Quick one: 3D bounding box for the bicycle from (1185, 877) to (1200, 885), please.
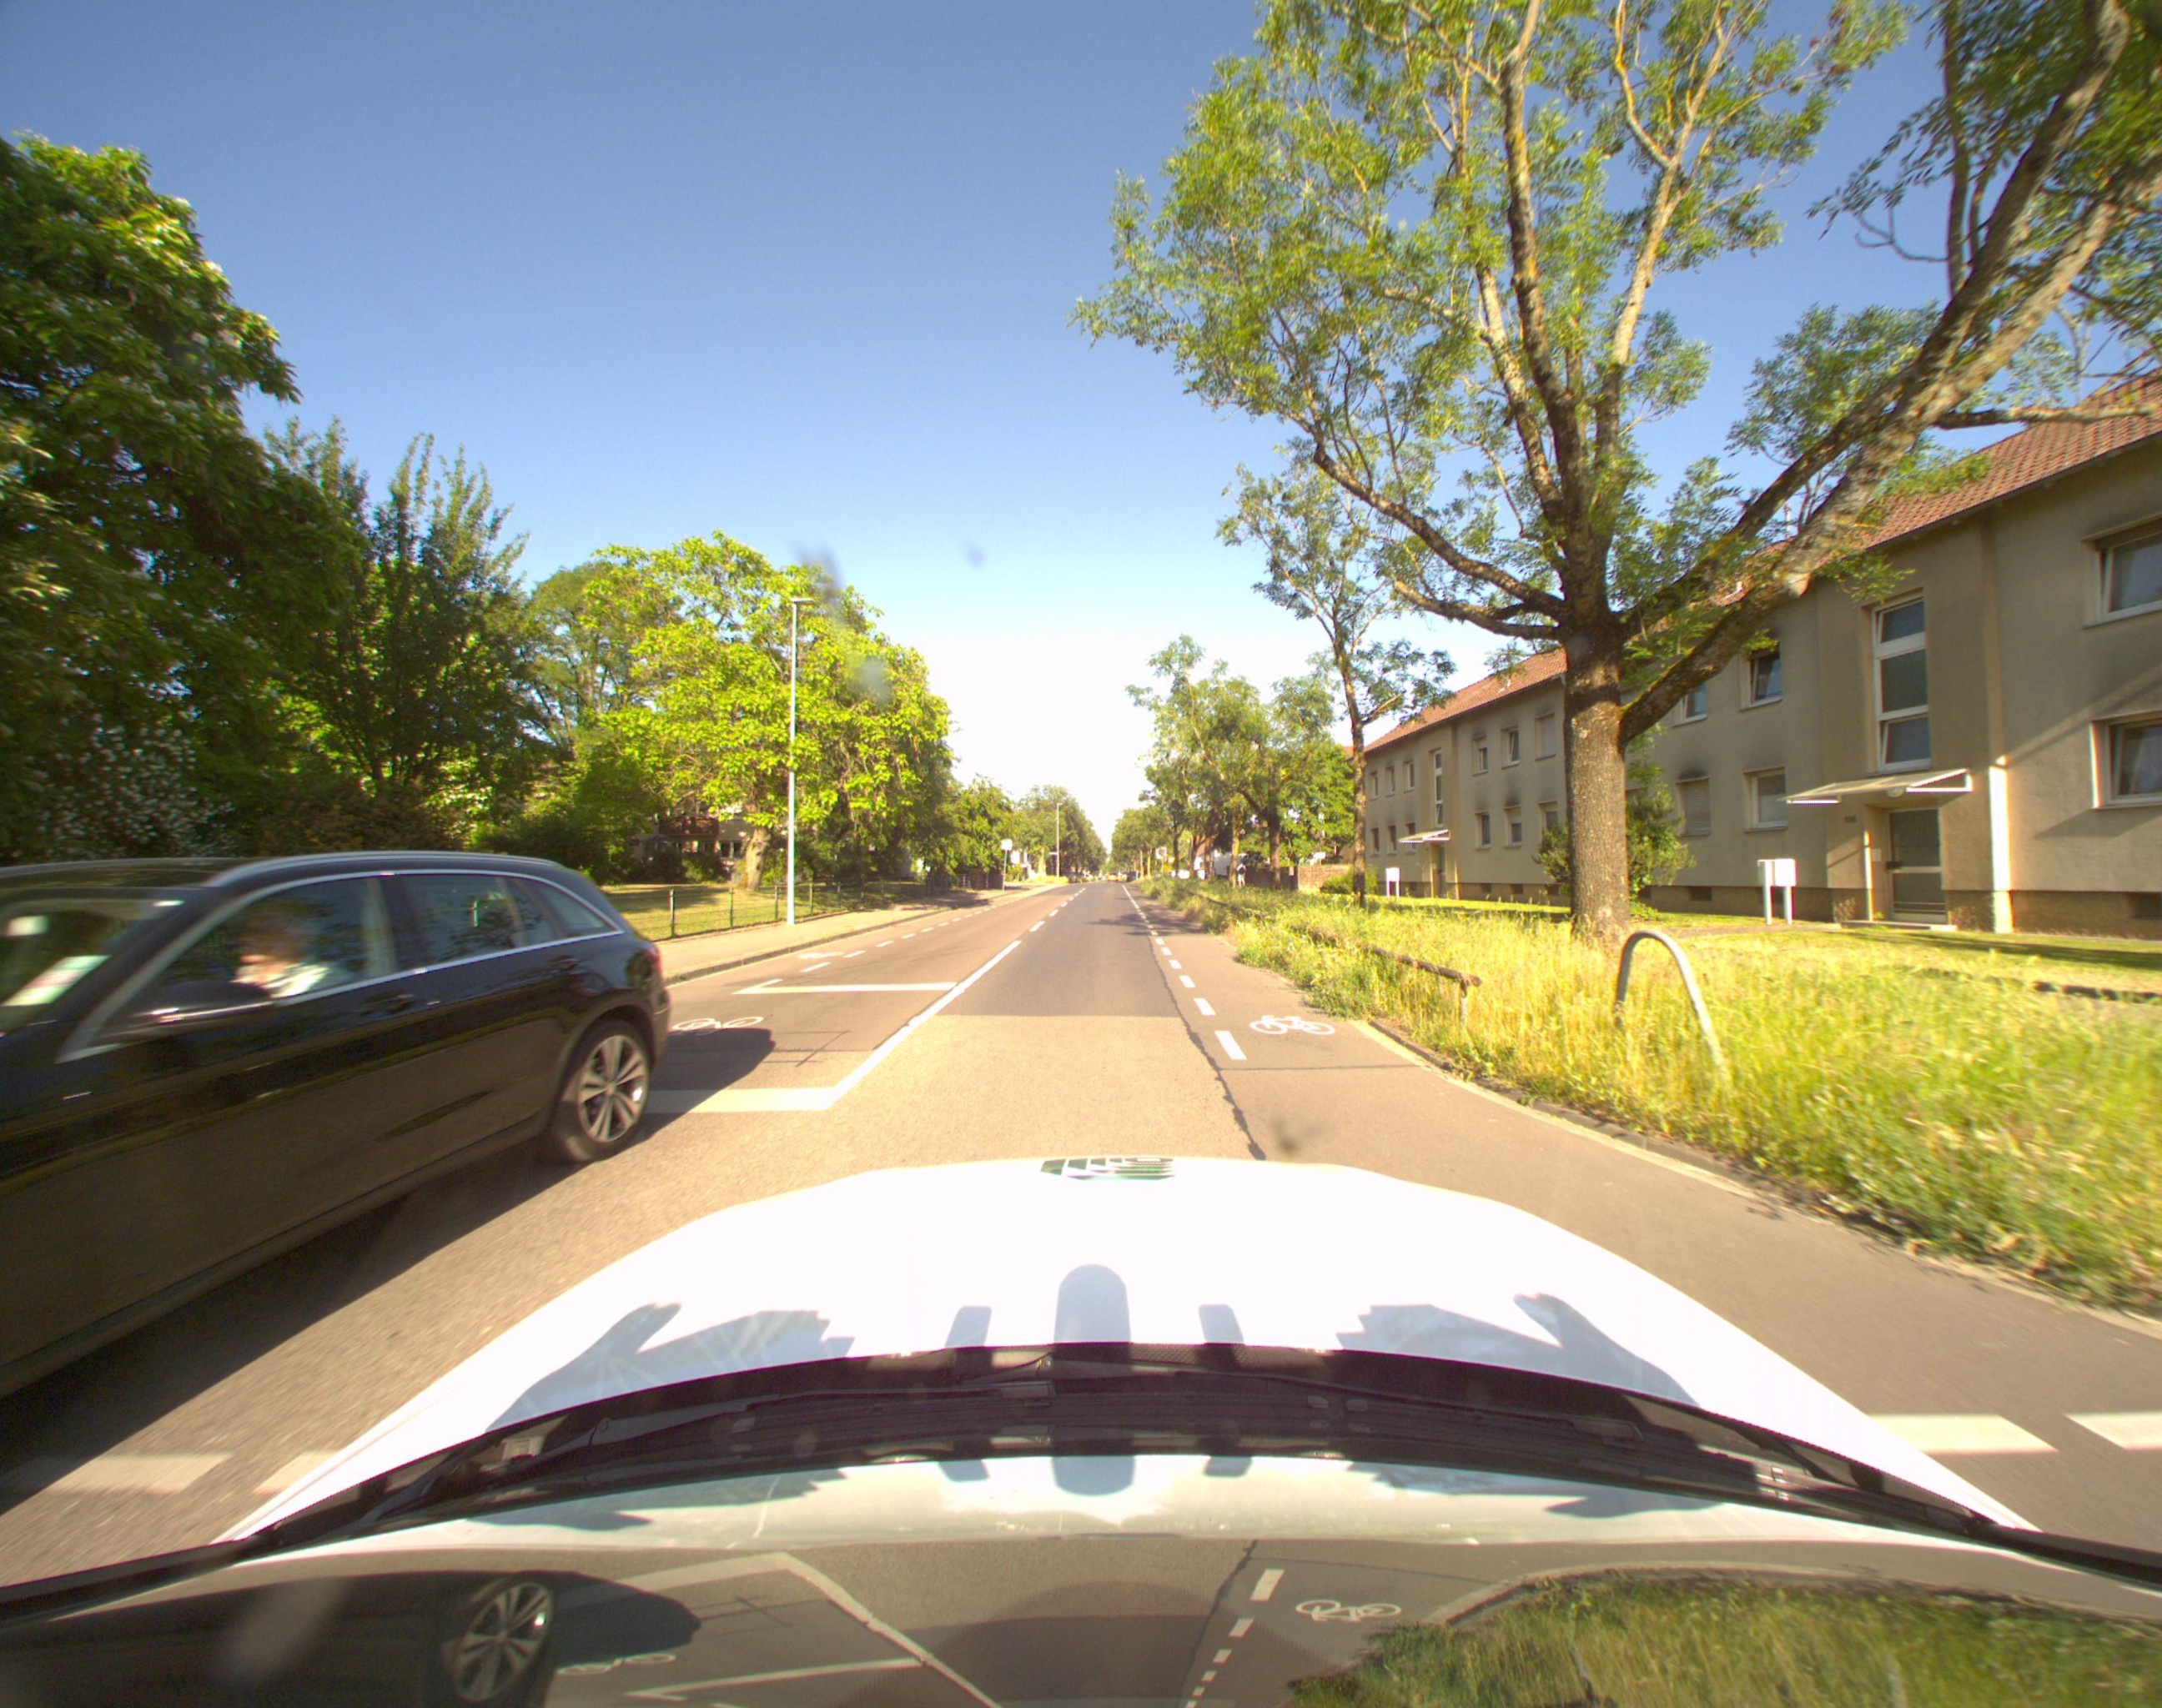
[{"bbox_3d":[15.561,3.797,113.833,1.917,0.998,0.576,-2,-1,0],"label":"bicycle"}]

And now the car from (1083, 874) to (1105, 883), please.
[{"bbox_3d":[3.321,6.227,206.881,5.480,2.248,2.516,1,-1,0],"label":"car"}]

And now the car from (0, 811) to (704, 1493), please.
[{"bbox_3d":[-3.438,0.758,3.029,1.807,1.618,4.395,-2,-1,3],"label":"car"}]

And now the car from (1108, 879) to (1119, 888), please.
[{"bbox_3d":[5.850,5.261,146.655,1.882,1.479,3.886,2,-2,0],"label":"car"}]

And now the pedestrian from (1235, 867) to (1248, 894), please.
[{"bbox_3d":[10.550,1.728,53.574,0.634,1.706,0.612,-3,-1,1],"label":"pedestrian"}]

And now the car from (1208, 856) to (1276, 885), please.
[{"bbox_3d":[14.420,1.490,73.134,5.579,2.539,2.264,0,-2,-2],"label":"car"}]

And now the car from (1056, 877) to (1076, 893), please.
[{"bbox_3d":[-1.752,3.694,96.830,1.945,1.727,4.877,1,-3,3],"label":"car"}]

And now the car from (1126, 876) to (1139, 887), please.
[{"bbox_3d":[7.851,4.226,124.519,1.846,1.626,4.470,-2,-3,2],"label":"car"}]

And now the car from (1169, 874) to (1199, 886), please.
[{"bbox_3d":[14.642,3.652,116.044,3.973,1.489,1.902,-2,-1,0],"label":"car"}]
